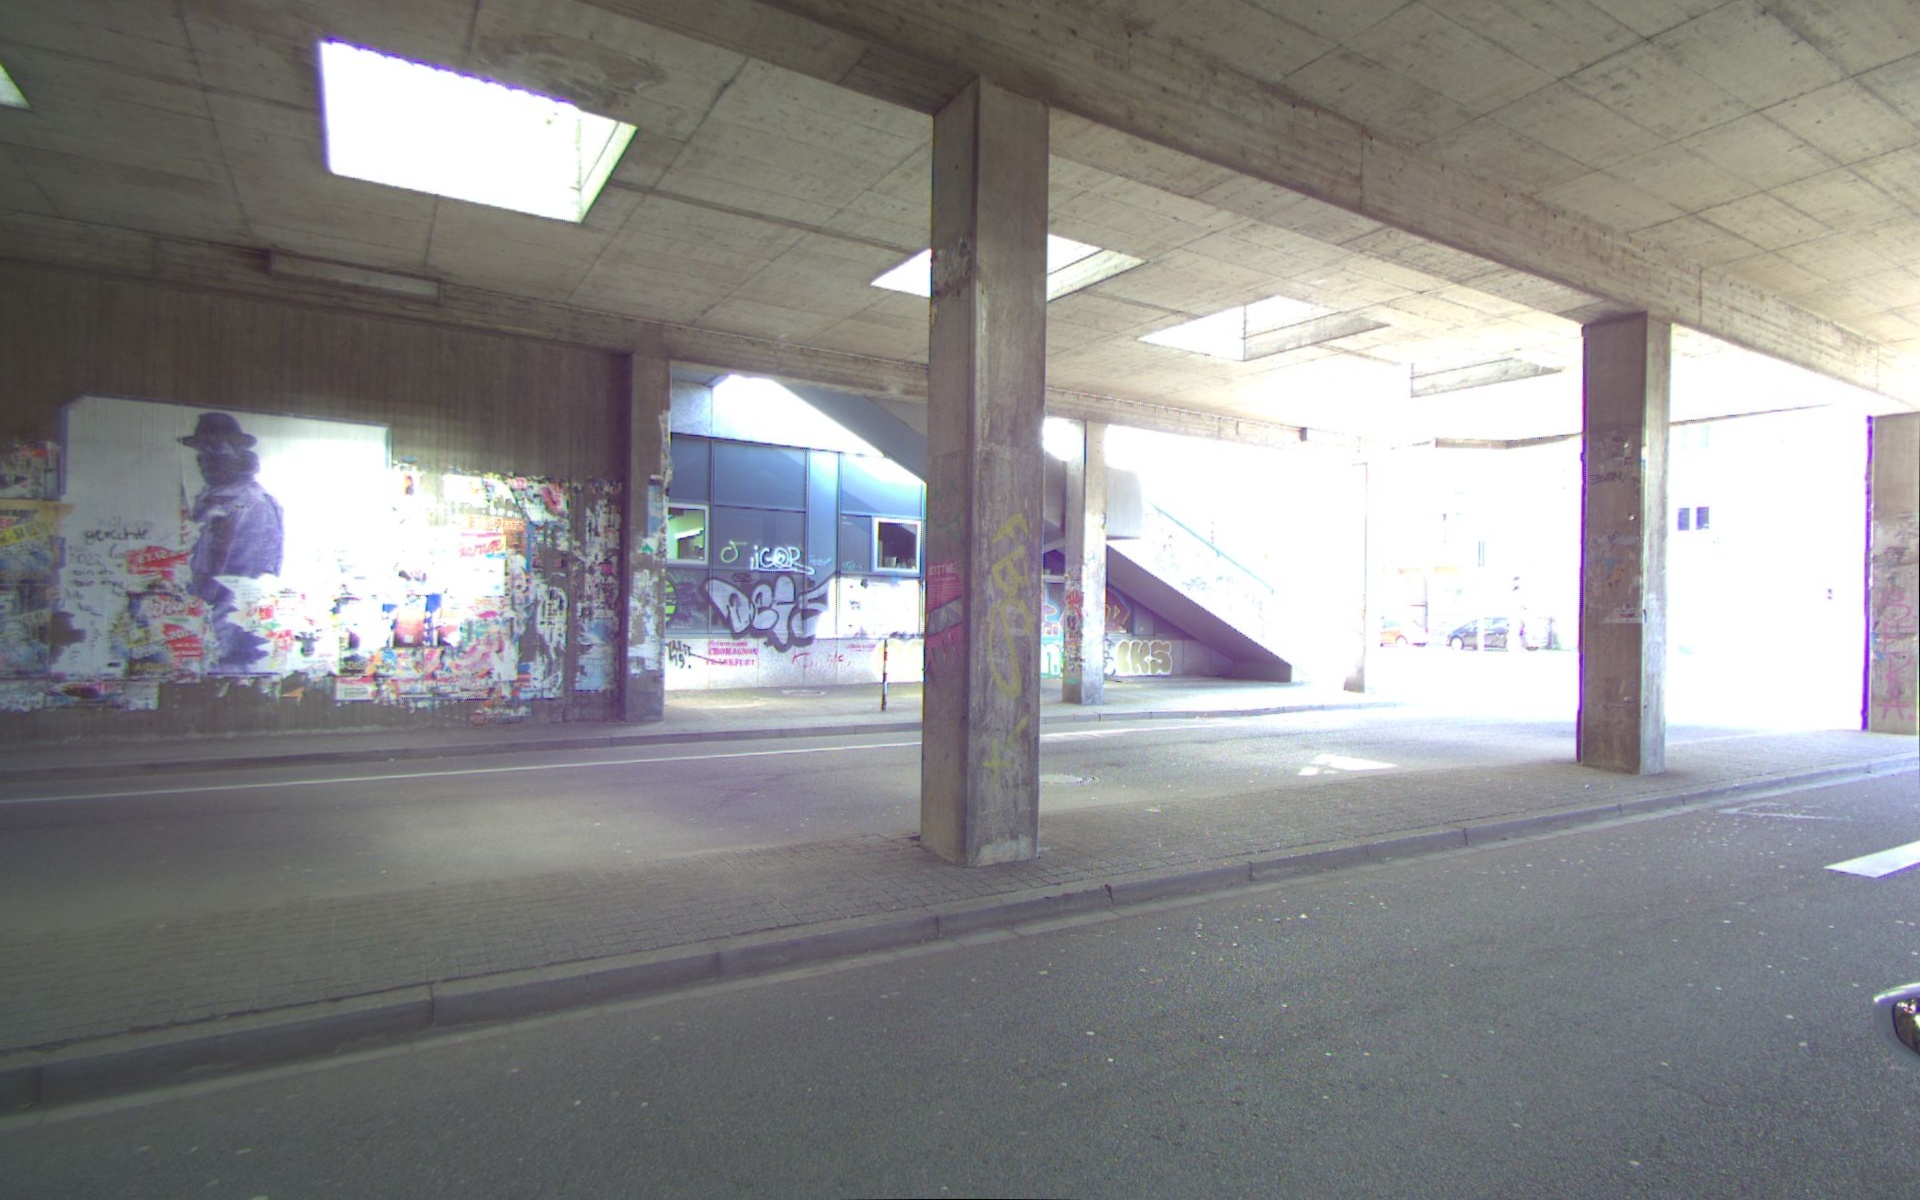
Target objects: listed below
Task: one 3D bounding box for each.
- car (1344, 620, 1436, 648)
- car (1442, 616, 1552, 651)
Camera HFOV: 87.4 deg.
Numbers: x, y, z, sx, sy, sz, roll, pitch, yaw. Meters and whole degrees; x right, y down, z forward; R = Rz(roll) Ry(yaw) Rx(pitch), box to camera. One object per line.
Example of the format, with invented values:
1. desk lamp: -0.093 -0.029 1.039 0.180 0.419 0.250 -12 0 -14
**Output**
1. car: 22.487 1.753 52.667 2.163 1.392 3.971 1 -1 -28
2. car: 25.408 1.567 47.656 2.240 1.571 4.111 1 -1 -29
